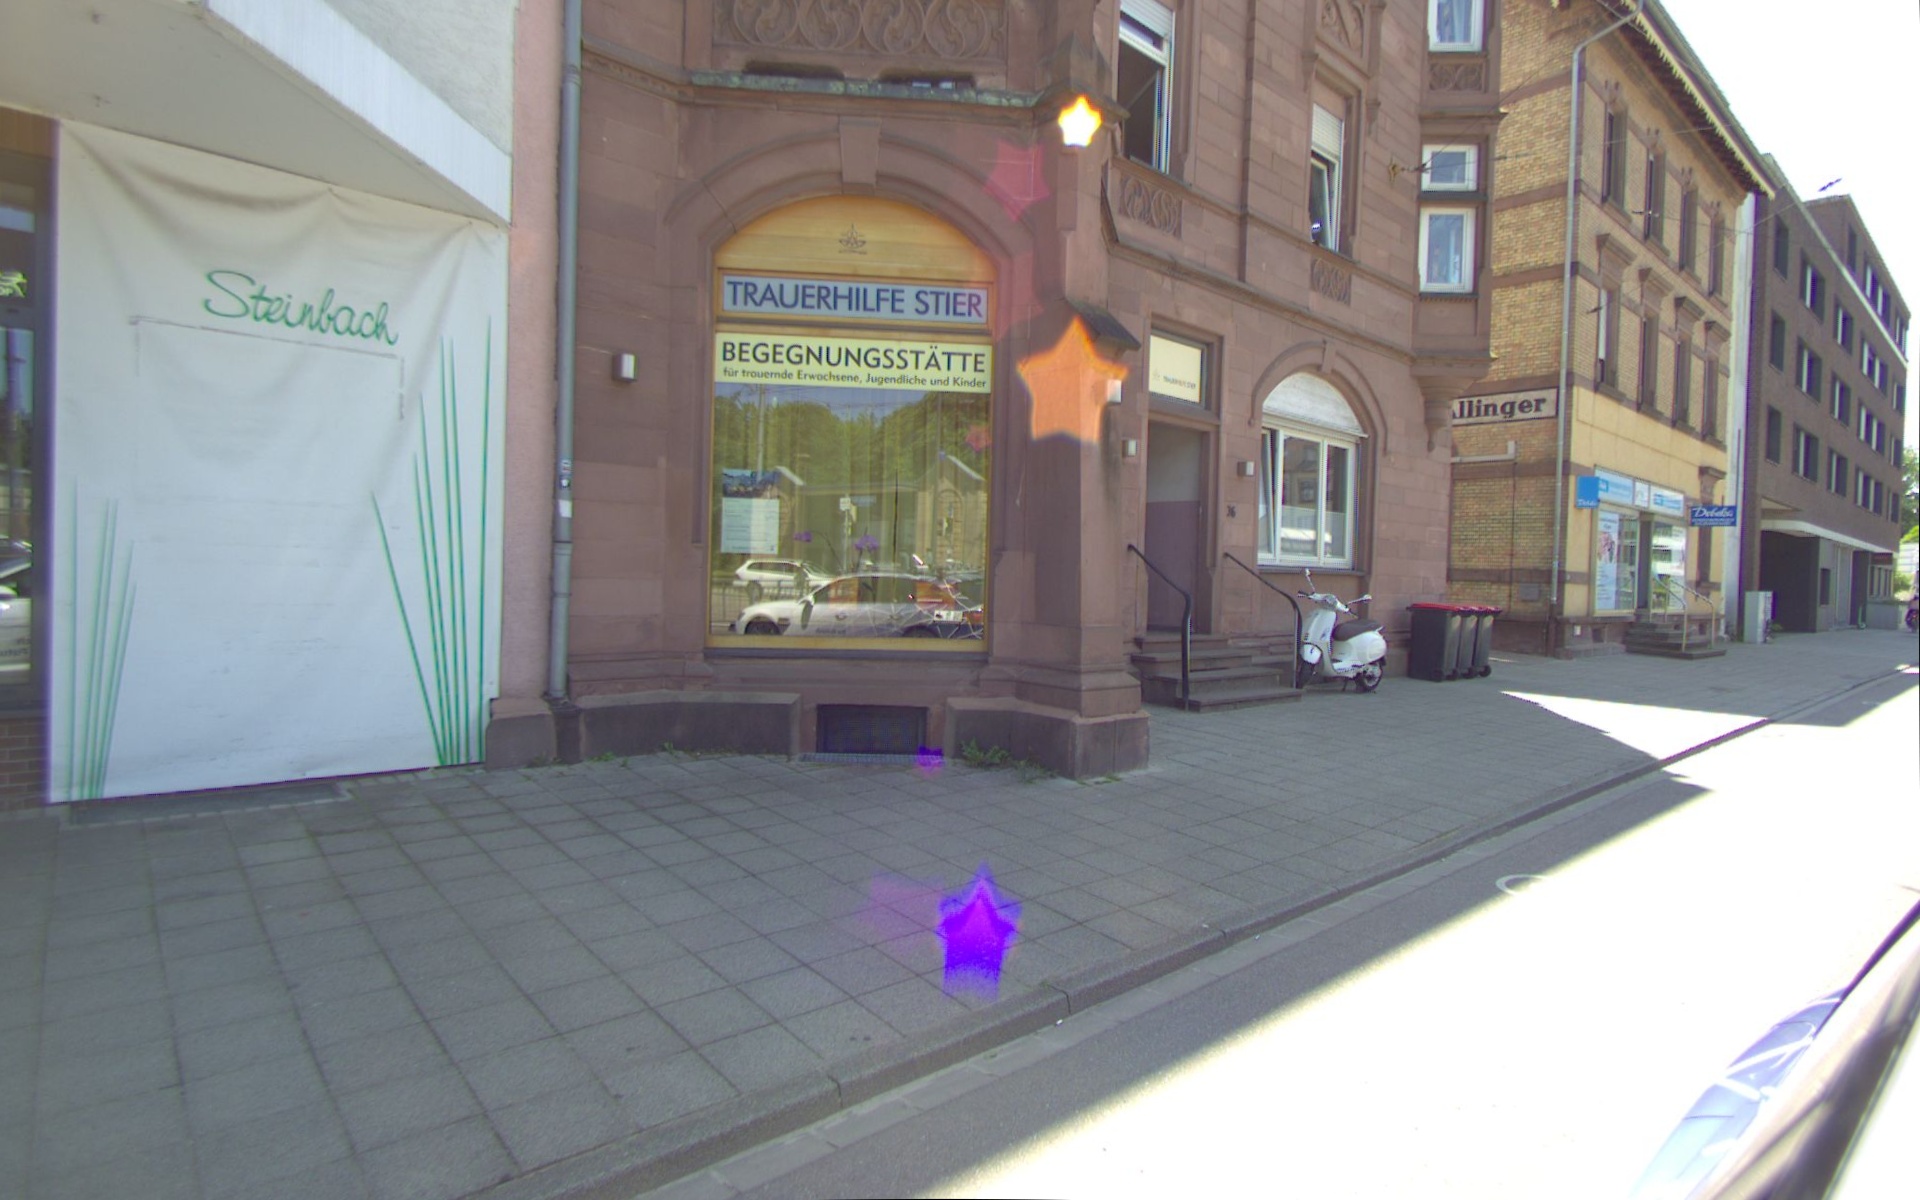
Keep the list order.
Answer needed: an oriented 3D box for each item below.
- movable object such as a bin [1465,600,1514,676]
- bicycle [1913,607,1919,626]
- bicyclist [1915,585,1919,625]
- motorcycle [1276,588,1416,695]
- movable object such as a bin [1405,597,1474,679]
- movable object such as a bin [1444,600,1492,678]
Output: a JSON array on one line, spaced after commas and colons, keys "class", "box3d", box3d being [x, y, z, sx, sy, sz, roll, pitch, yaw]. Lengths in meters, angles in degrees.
[{"class": "movable object such as a bin", "box3d": [7.712, 0.539, 14.739, 0.646, 1.061, 0.376, 0, 4, -42]}, {"class": "bicycle", "box3d": [42.762, 0.726, 44.695, 1.873, 0.807, 0.690, 0, 1, -39]}, {"class": "bicyclist", "box3d": [42.833, 0.233, 44.754, 0.911, 1.744, 0.672, 1, 1, -38]}, {"class": "motorcycle", "box3d": [4.540, 0.455, 11.854, 1.843, 1.163, 0.529, 1, 1, -33]}, {"class": "movable object such as a bin", "box3d": [6.677, 0.513, 14.096, 0.549, 1.061, 0.649, 0, 4, -42]}, {"class": "movable object such as a bin", "box3d": [7.203, 0.539, 14.353, 0.549, 1.061, 0.376, 0, 4, -42]}]
